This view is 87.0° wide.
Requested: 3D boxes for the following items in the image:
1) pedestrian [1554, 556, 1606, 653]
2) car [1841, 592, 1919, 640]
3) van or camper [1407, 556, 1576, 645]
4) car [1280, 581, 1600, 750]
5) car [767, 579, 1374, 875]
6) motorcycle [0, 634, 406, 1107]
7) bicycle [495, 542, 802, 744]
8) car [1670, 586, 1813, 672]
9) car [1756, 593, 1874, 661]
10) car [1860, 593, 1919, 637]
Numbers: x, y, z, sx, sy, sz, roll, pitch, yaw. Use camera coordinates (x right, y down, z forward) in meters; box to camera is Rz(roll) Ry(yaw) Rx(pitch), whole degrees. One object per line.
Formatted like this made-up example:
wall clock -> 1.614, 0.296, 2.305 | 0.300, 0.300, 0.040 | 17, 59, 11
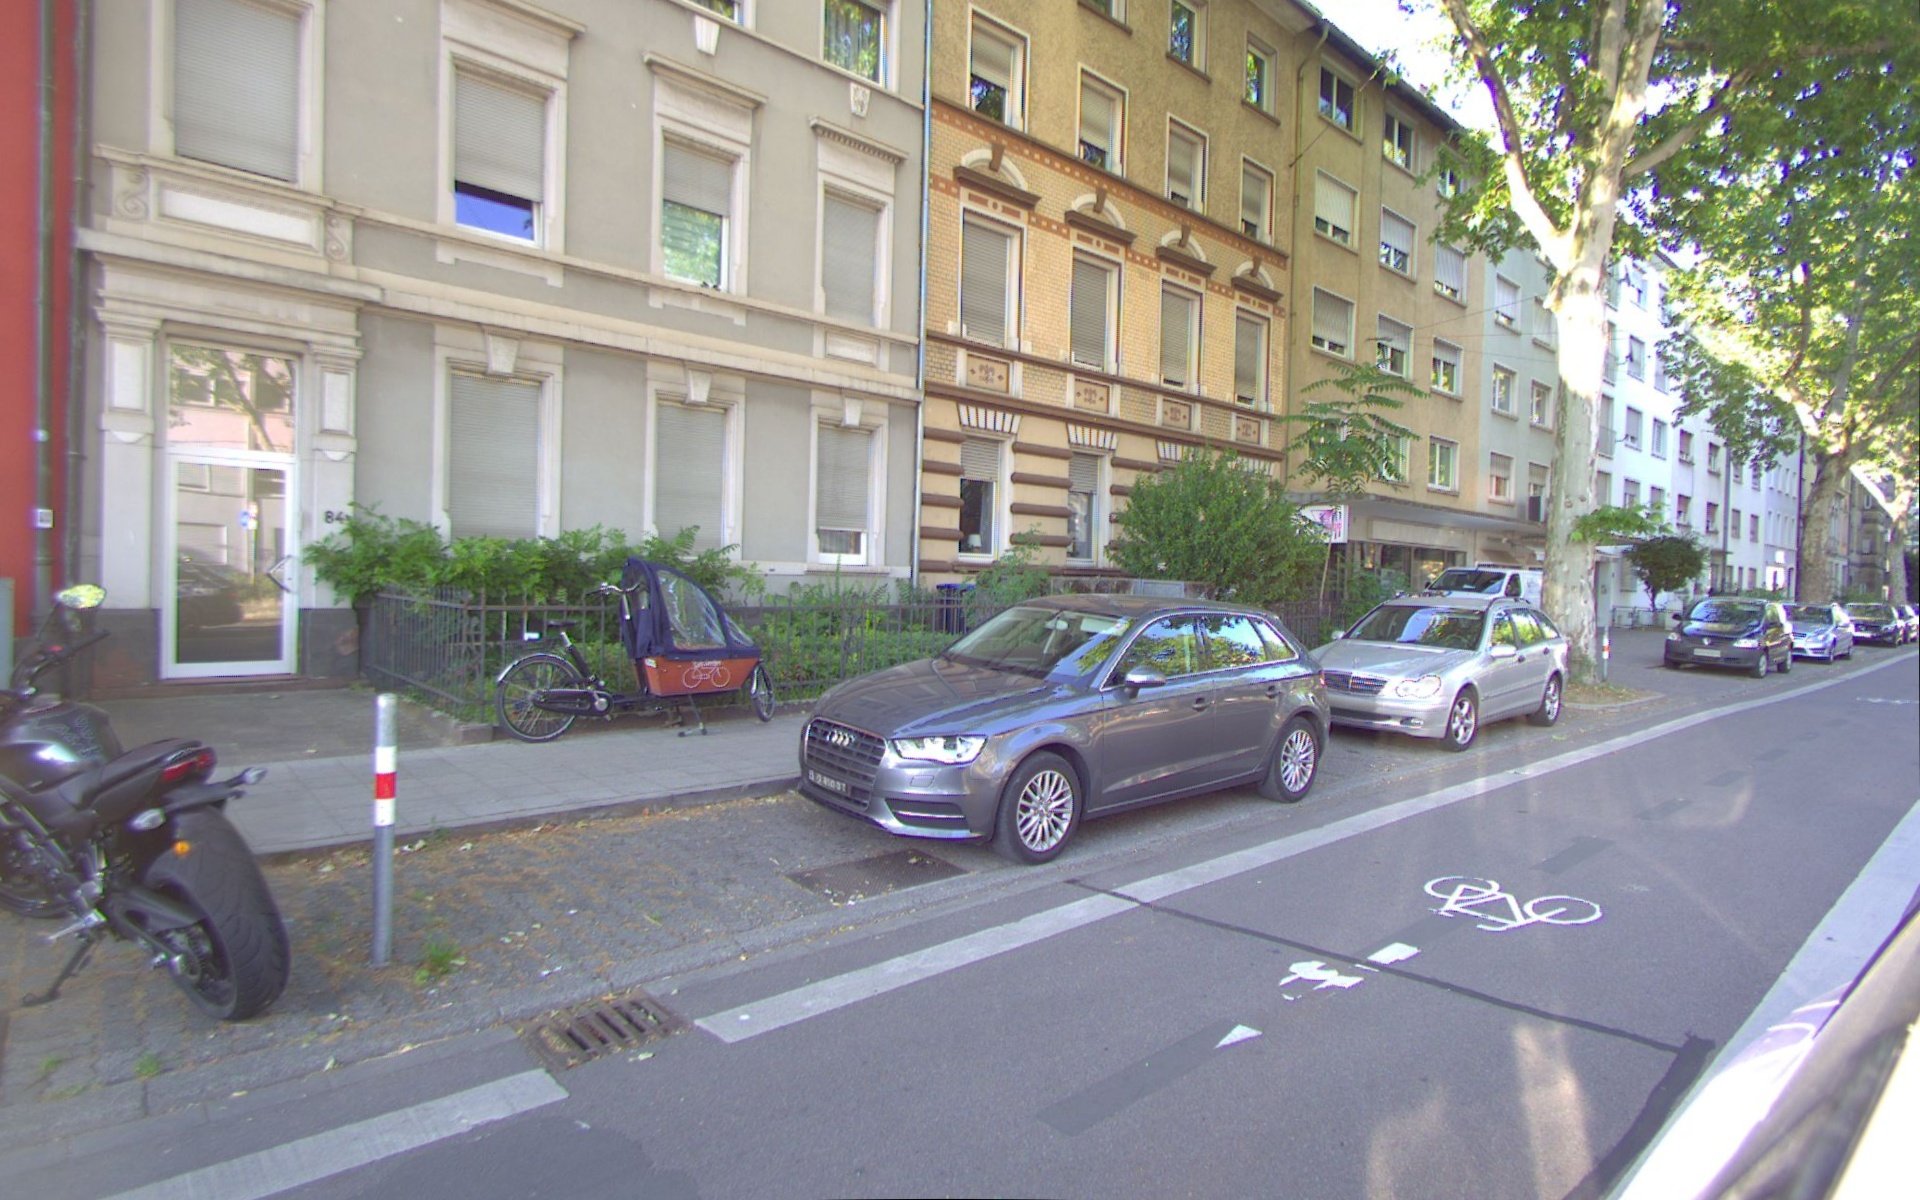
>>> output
pedestrian -> 13.308, 0.084, 21.728 | 0.995, 2.038, 0.683 | 0, 1, -44
car -> 31.670, 0.508, 34.621 | 4.289, 1.432, 1.712 | 0, 4, -42
van or camper -> 13.182, -0.020, 24.927 | 5.299, 1.946, 1.945 | 0, 2, -42
car -> 5.466, 0.567, 11.218 | 4.494, 1.469, 1.676 | 0, 2, -43
car -> 0.979, 0.609, 6.990 | 4.245, 1.414, 1.714 | 0, 2, -41
motorcycle -> -3.019, 0.762, 3.583 | 2.193, 1.076, 0.760 | 4, 2, 28
bicycle -> -2.457, 0.301, 8.244 | 2.354, 1.445, 0.608 | 0, 0, -41
car -> 16.248, 0.527, 20.975 | 3.932, 1.564, 1.656 | 0, 2, -42
car -> 22.001, 0.629, 25.969 | 4.695, 1.561, 1.697 | 0, 2, -42
car -> 35.196, 0.519, 37.891 | 4.289, 1.432, 1.712 | 0, 4, -42
